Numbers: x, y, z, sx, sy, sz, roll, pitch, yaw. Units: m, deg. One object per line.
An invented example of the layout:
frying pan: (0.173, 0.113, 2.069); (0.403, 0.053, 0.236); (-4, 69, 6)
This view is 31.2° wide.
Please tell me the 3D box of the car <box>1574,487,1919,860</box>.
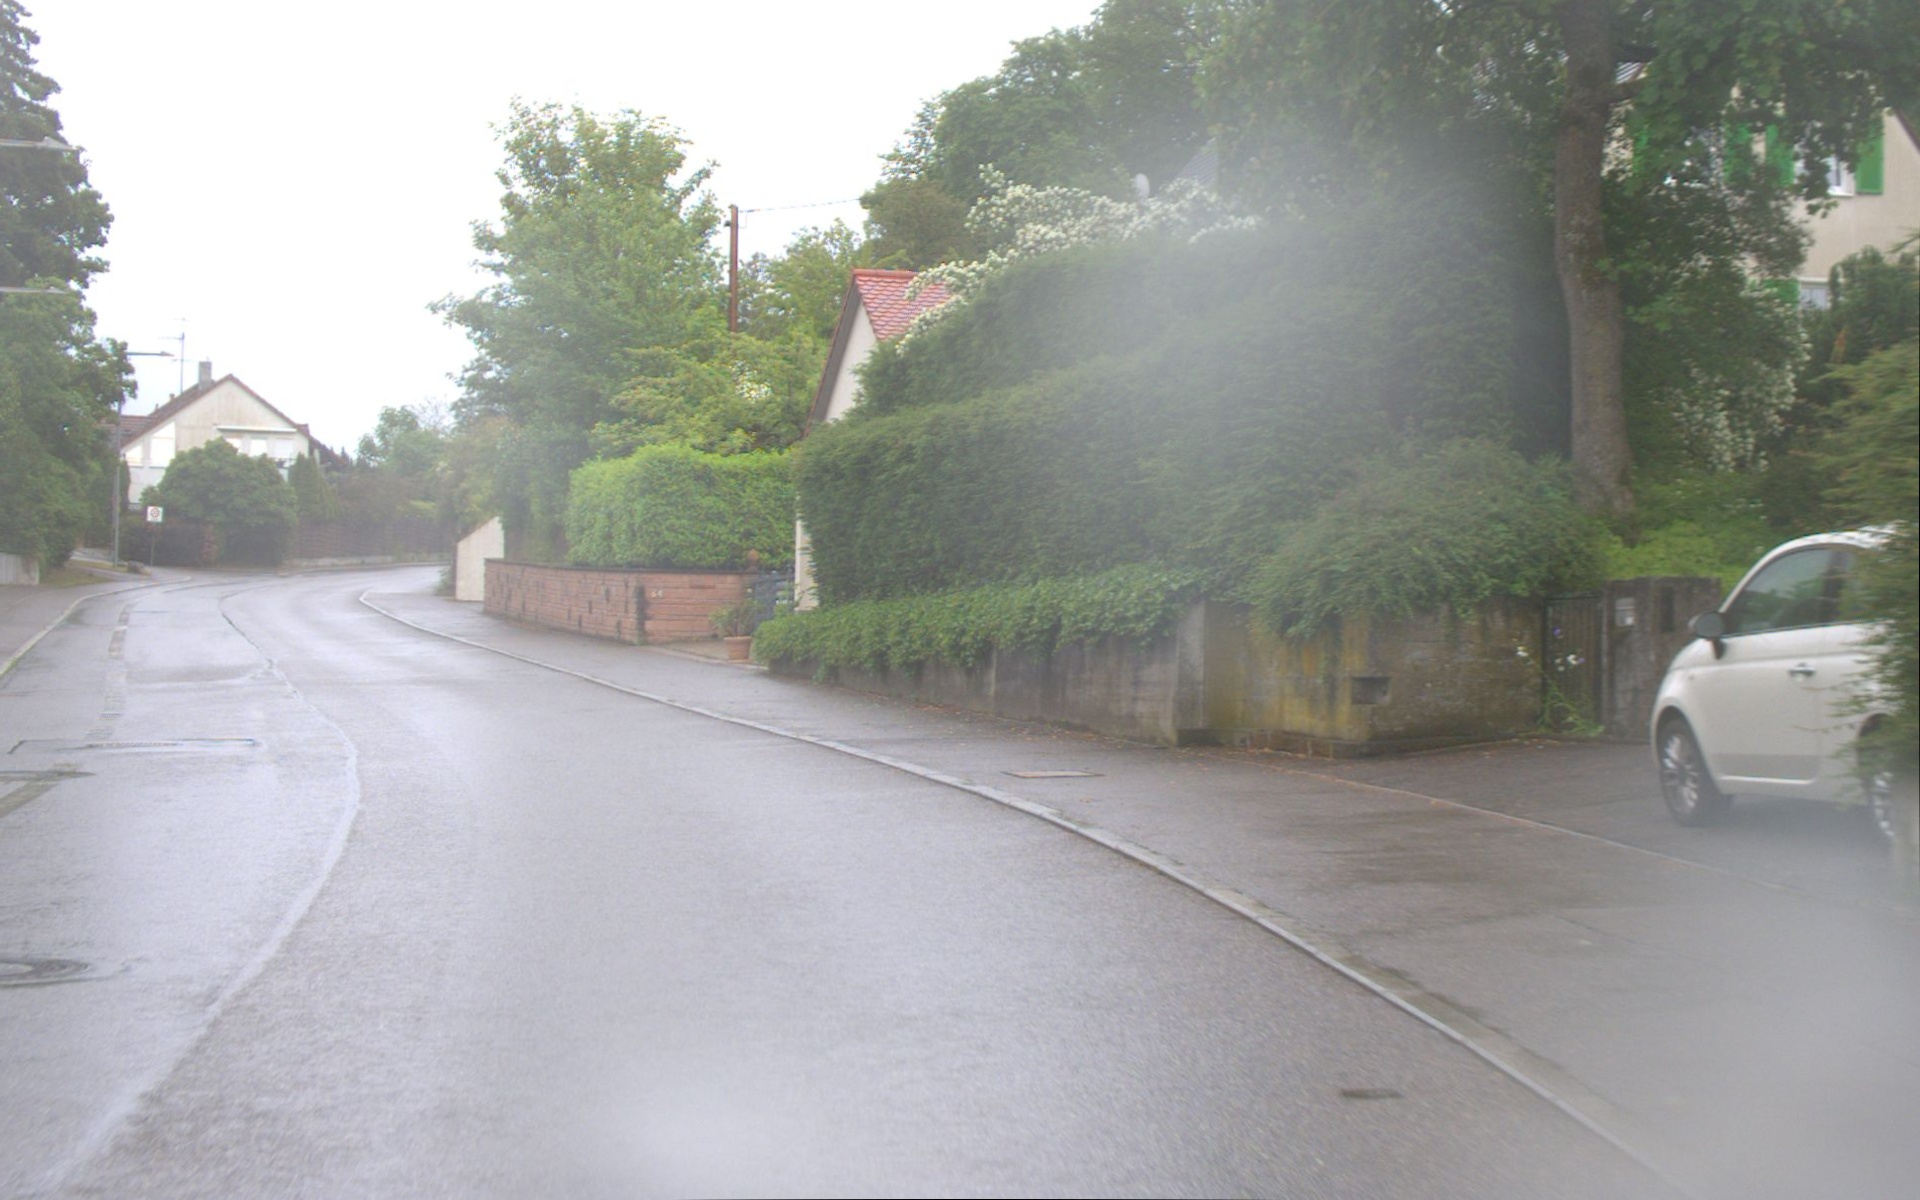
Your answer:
car: (4.519, 0.264, 16.879); (1.531, 1.530, 3.846); (-5, 2, -12)
